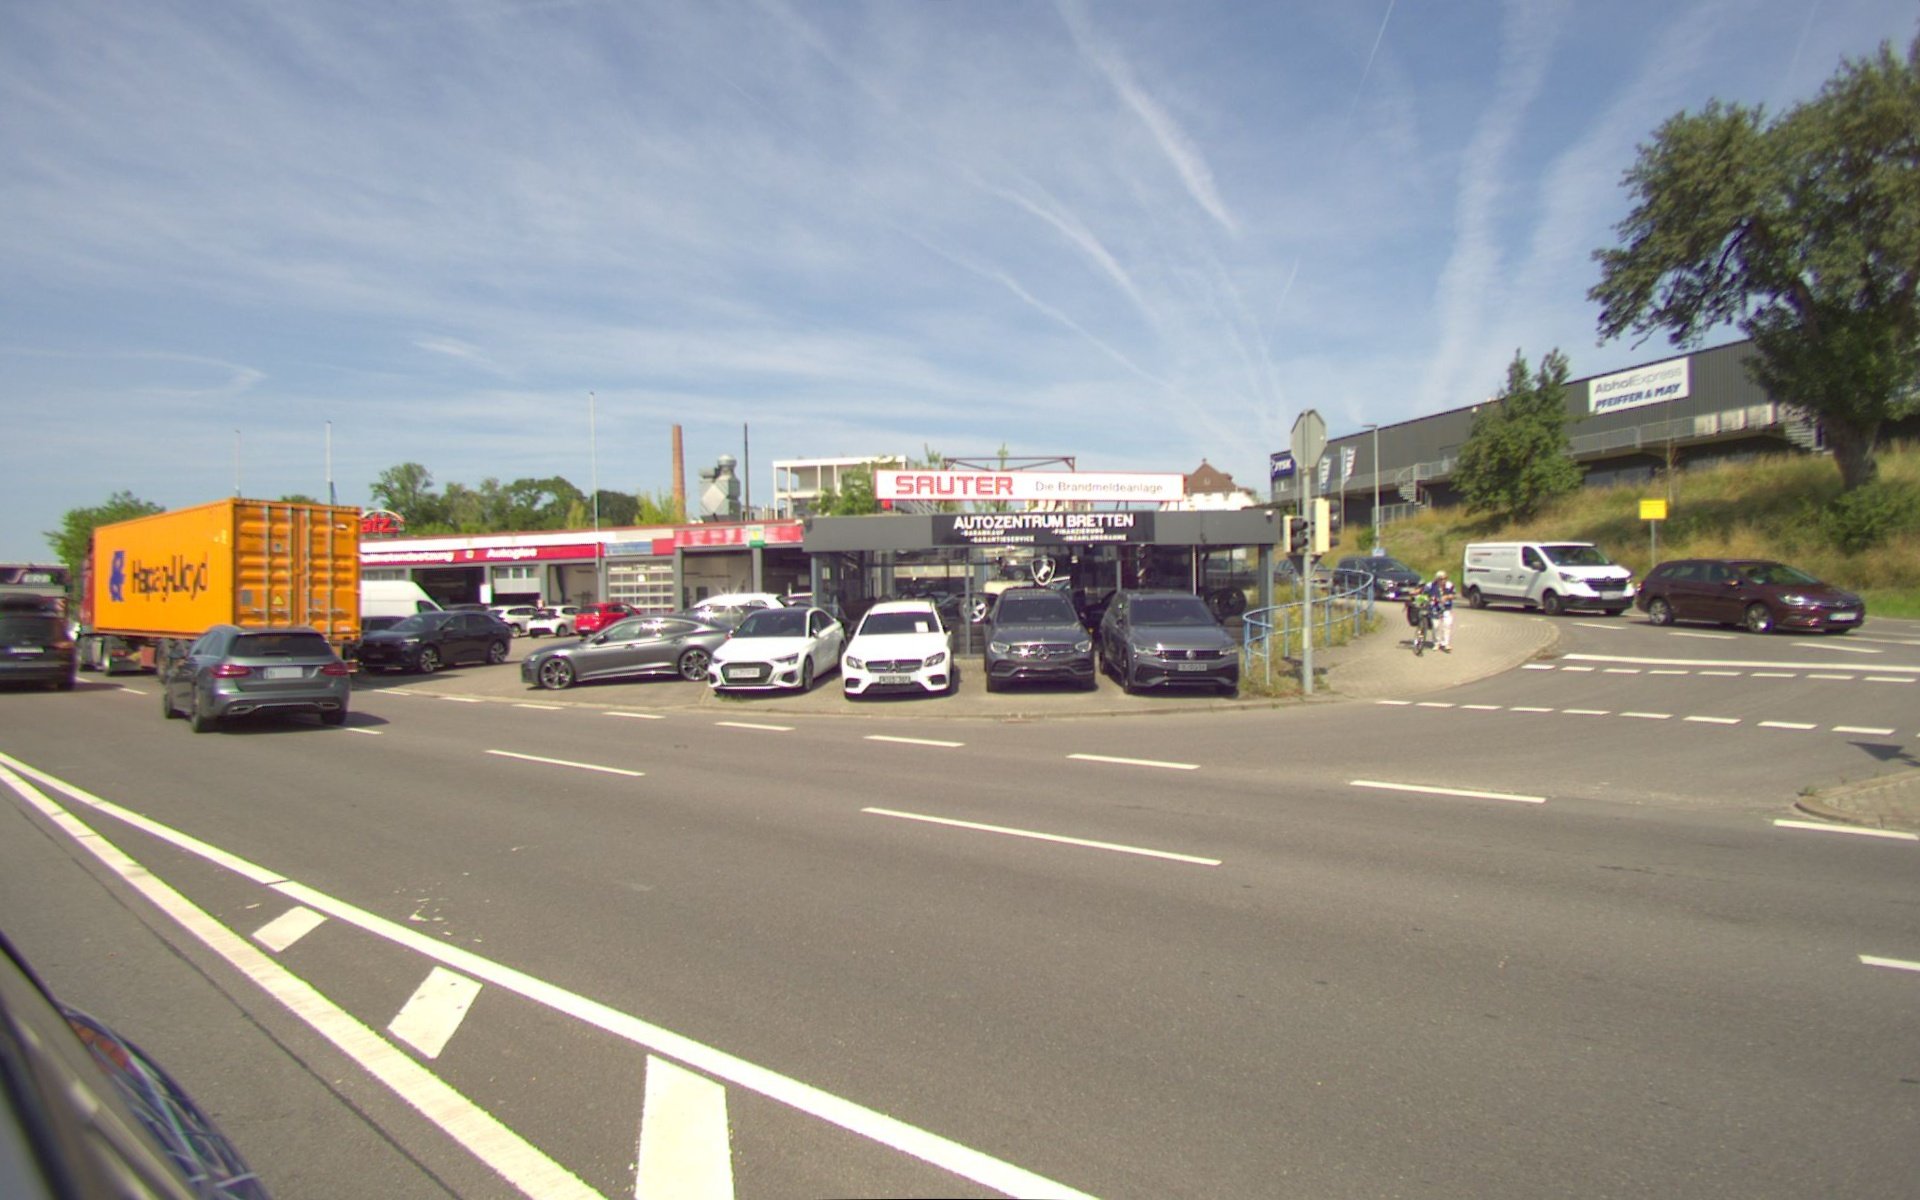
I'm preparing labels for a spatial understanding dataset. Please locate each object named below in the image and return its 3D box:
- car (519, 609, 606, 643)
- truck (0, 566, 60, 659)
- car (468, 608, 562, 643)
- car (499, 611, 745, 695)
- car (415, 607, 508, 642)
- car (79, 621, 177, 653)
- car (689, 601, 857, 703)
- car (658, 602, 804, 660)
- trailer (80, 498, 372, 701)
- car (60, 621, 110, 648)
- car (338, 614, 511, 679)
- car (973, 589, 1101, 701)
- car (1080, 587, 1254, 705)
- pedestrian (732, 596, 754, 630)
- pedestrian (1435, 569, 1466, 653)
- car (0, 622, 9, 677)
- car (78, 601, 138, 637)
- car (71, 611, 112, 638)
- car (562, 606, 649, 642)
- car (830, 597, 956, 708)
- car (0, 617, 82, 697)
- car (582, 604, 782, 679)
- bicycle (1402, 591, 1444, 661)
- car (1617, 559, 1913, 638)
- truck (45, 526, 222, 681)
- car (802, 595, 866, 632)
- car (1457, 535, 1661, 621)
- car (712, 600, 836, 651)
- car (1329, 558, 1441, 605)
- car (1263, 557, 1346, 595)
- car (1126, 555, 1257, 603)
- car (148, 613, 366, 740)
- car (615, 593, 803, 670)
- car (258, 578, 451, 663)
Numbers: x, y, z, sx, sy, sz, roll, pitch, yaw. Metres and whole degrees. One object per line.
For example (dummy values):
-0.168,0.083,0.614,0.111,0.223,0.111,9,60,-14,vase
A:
-19.245,1.239,49.155,1.869,1.531,3.920,-1,0,18,car
-44.940,0.614,47.289,9.963,4.028,2.685,-1,-1,39,truck
-21.941,1.221,50.060,1.977,1.618,3.966,-1,0,25,car
-7.000,1.069,21.390,4.570,1.447,1.977,-2,0,-5,car
-25.017,1.226,50.911,1.864,1.631,3.969,-1,0,23,car
-44.172,1.922,53.786,1.940,1.562,3.750,-1,-1,39,car
-3.464,0.906,19.765,1.870,1.486,4.707,-2,2,7,car
-6.935,0.907,30.955,4.082,1.535,1.829,-2,0,-2,car
-18.502,0.083,24.956,12.219,4.028,2.694,-1,-1,39,trailer
-51.897,2.031,59.995,4.000,1.425,1.742,-1,3,43,car
-14.704,1.231,28.071,2.010,1.635,4.166,-1,-1,13,car
1.282,0.704,18.879,1.905,1.638,4.799,-1,2,-1,car
3.523,0.685,18.178,1.862,1.638,4.746,-2,2,-3,car
-11.424,0.701,53.338,0.739,1.740,0.860,-1,1,24,pedestrian
9.278,0.203,19.138,0.493,1.545,0.381,-1,4,29,pedestrian
-29.424,1.449,29.626,4.586,1.535,1.842,-2,-2,41,car
-64.987,1.424,77.296,2.399,2.563,6.060,-1,0,-29,car
-77.024,2.192,89.757,2.405,2.281,5.343,-1,0,-44,car
-16.895,1.125,48.368,1.902,1.630,3.976,-1,0,18,car
-1.088,0.840,18.616,1.928,1.524,4.716,-2,2,1,car
-21.089,1.220,22.258,4.583,1.614,1.890,-2,-3,39,car
-6.437,0.931,23.863,4.277,1.498,1.802,-2,0,-6,car
8.942,0.469,19.505,0.588,1.036,2.201,-1,6,28,bicycle
16.388,-0.120,21.056,1.920,1.429,4.979,-1,2,-4,car
-24.002,0.136,29.318,6.048,4.028,2.695,-1,-1,38,truck
-6.420,0.672,52.066,1.736,1.821,4.079,-1,-1,18,car
16.296,-0.655,27.990,2.037,2.056,5.521,-2,2,-4,car
-6.483,0.876,35.653,4.038,1.535,1.812,-2,0,-2,car
15.354,-0.708,36.859,1.970,1.574,4.514,-1,2,-4,car
15.067,-1.076,44.517,1.971,1.574,4.512,-1,2,-2,car
7.979,-0.732,35.109,4.012,1.574,2.001,-1,2,-2,car
-10.645,1.057,15.179,1.899,1.614,4.591,1,-3,-45,car
-6.440,0.780,26.359,4.404,1.762,1.894,-2,0,-2,car
-21.837,0.720,36.694,2.116,2.860,5.647,-3,-2,42,car
